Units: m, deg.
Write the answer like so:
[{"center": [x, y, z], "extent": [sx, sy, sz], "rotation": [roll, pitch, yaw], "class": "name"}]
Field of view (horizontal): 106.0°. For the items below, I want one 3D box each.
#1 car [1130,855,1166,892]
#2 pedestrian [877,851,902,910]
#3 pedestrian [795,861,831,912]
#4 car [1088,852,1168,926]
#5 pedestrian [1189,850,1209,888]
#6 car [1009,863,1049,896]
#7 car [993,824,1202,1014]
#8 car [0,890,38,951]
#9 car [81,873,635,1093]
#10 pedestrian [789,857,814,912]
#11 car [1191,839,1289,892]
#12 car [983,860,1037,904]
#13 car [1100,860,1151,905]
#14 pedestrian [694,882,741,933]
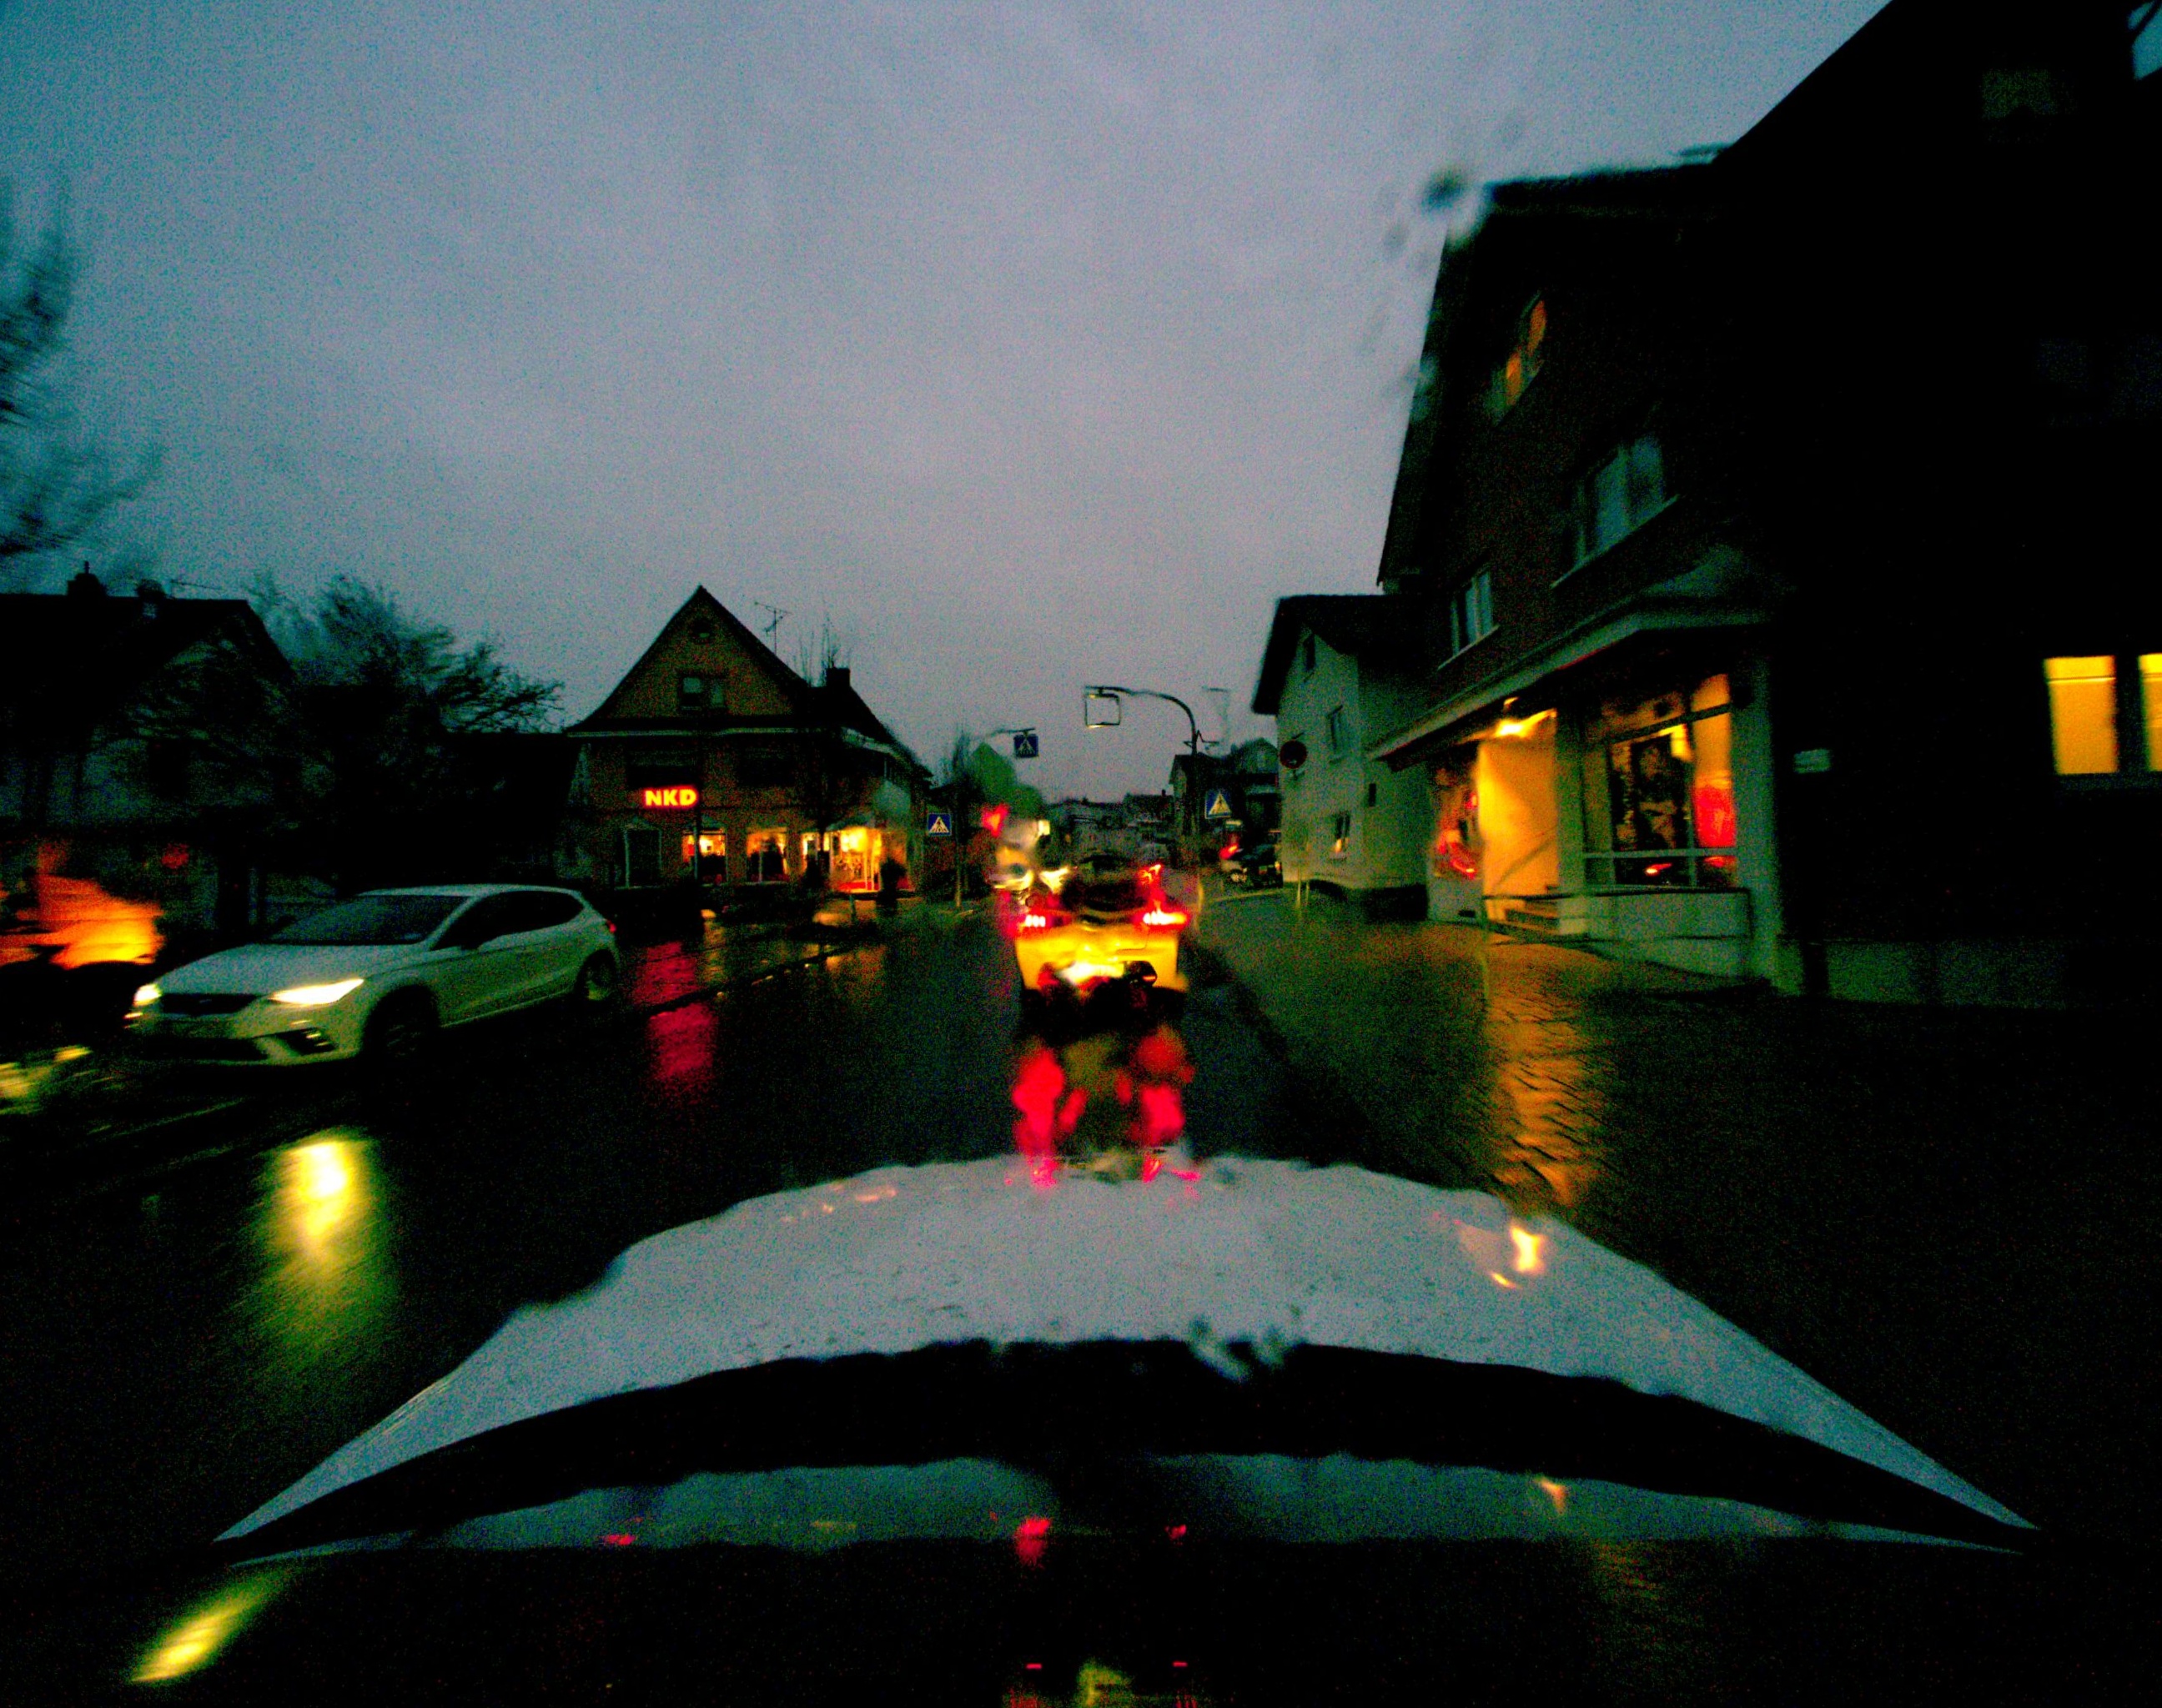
[{"center": [3.902, 1.103, 47.868], "extent": [1.637, 2.013, 3.999], "rotation": [-3, 0, -1], "class": "car"}, {"center": [-6.195, 0.851, 26.378], "extent": [0.701, 1.876, 0.616], "rotation": [0, 0, -4], "class": "pedestrian"}, {"center": [-9.321, 1.123, 28.374], "extent": [0.971, 1.742, 0.960], "rotation": [0, 0, -4], "class": "pedestrian"}, {"center": [1.192, 0.823, 20.542], "extent": [1.790, 1.662, 4.003], "rotation": [-1, -1, 3], "class": "car"}, {"center": [6.398, 0.787, 44.285], "extent": [1.011, 2.014, 1.277], "rotation": [-1, -1, 7], "class": "pedestrian"}, {"center": [-2.982, 1.452, 47.361], "extent": [1.987, 1.752, 4.361], "rotation": [-1, -1, 0], "class": "car"}, {"center": [0.350, 0.632, 10.252], "extent": [1.984, 1.795, 4.654], "rotation": [-2, 0, 5], "class": "car"}, {"center": [-29.305, 1.737, 20.313], "extent": [3.894, 1.519, 1.608], "rotation": [-1, -1, -12], "class": "car"}, {"center": [-6.301, 0.972, 7.866], "extent": [1.663, 1.516, 4.001], "rotation": [0, -1, 2], "class": "car"}, {"center": [-8.975, 0.966, 26.154], "extent": [0.587, 1.742, 0.683], "rotation": [-1, -1, -5], "class": "pedestrian"}, {"center": [6.266, 0.445, 32.365], "extent": [3.679, 2.014, 1.691], "rotation": [-1, -1, 5], "class": "car"}, {"center": [-3.437, 1.318, 40.249], "extent": [1.985, 2.014, 4.365], "rotation": [-1, -1, 4], "class": "car"}, {"center": [1.785, 1.081, 32.056], "extent": [1.819, 1.601, 4.586], "rotation": [-1, -1, 4], "class": "car"}, {"center": [-10.877, 1.598, 24.376], "extent": [0.886, 1.418, 0.777], "rotation": [5, -1, 6], "class": "pedestrian"}]
